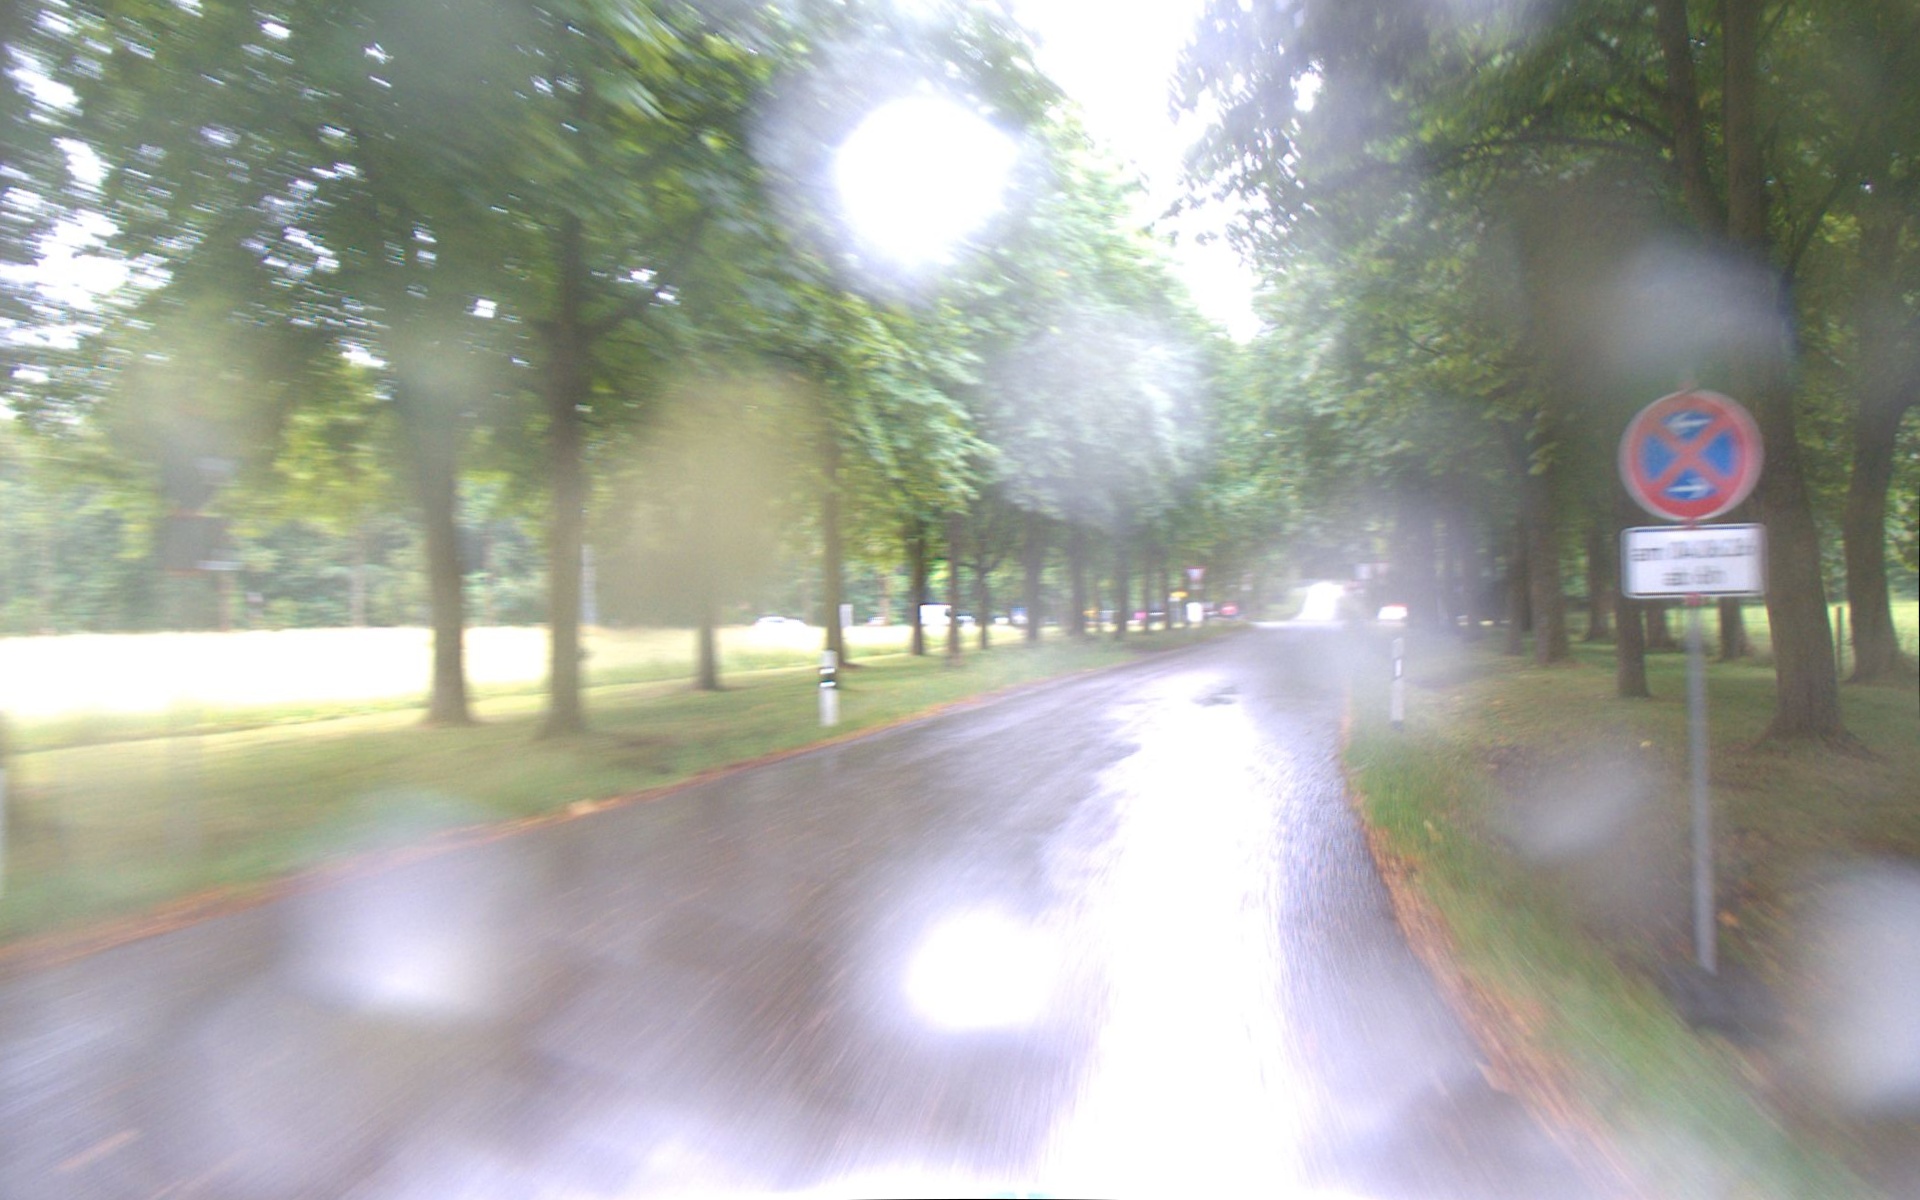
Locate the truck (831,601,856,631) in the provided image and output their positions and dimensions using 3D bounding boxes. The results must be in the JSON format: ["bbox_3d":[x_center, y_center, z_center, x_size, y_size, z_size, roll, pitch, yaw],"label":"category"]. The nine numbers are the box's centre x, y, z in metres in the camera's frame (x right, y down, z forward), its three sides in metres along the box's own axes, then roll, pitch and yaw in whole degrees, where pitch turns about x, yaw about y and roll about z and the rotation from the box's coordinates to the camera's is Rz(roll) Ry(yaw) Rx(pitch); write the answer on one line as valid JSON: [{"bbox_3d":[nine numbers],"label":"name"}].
[{"bbox_3d":[-9.748,1.347,138.816,1.831,2.485,3.348,-1,-1,-1],"label":"truck"}]

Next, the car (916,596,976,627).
[{"bbox_3d":[-1.234,1.051,143.079,2.364,2.450,5.910,2,-3,-35],"label":"car"}]

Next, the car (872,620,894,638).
[{"bbox_3d":[-6.537,2.455,139.859,1.728,1.454,4.102,-1,-1,-5],"label":"car"}]
